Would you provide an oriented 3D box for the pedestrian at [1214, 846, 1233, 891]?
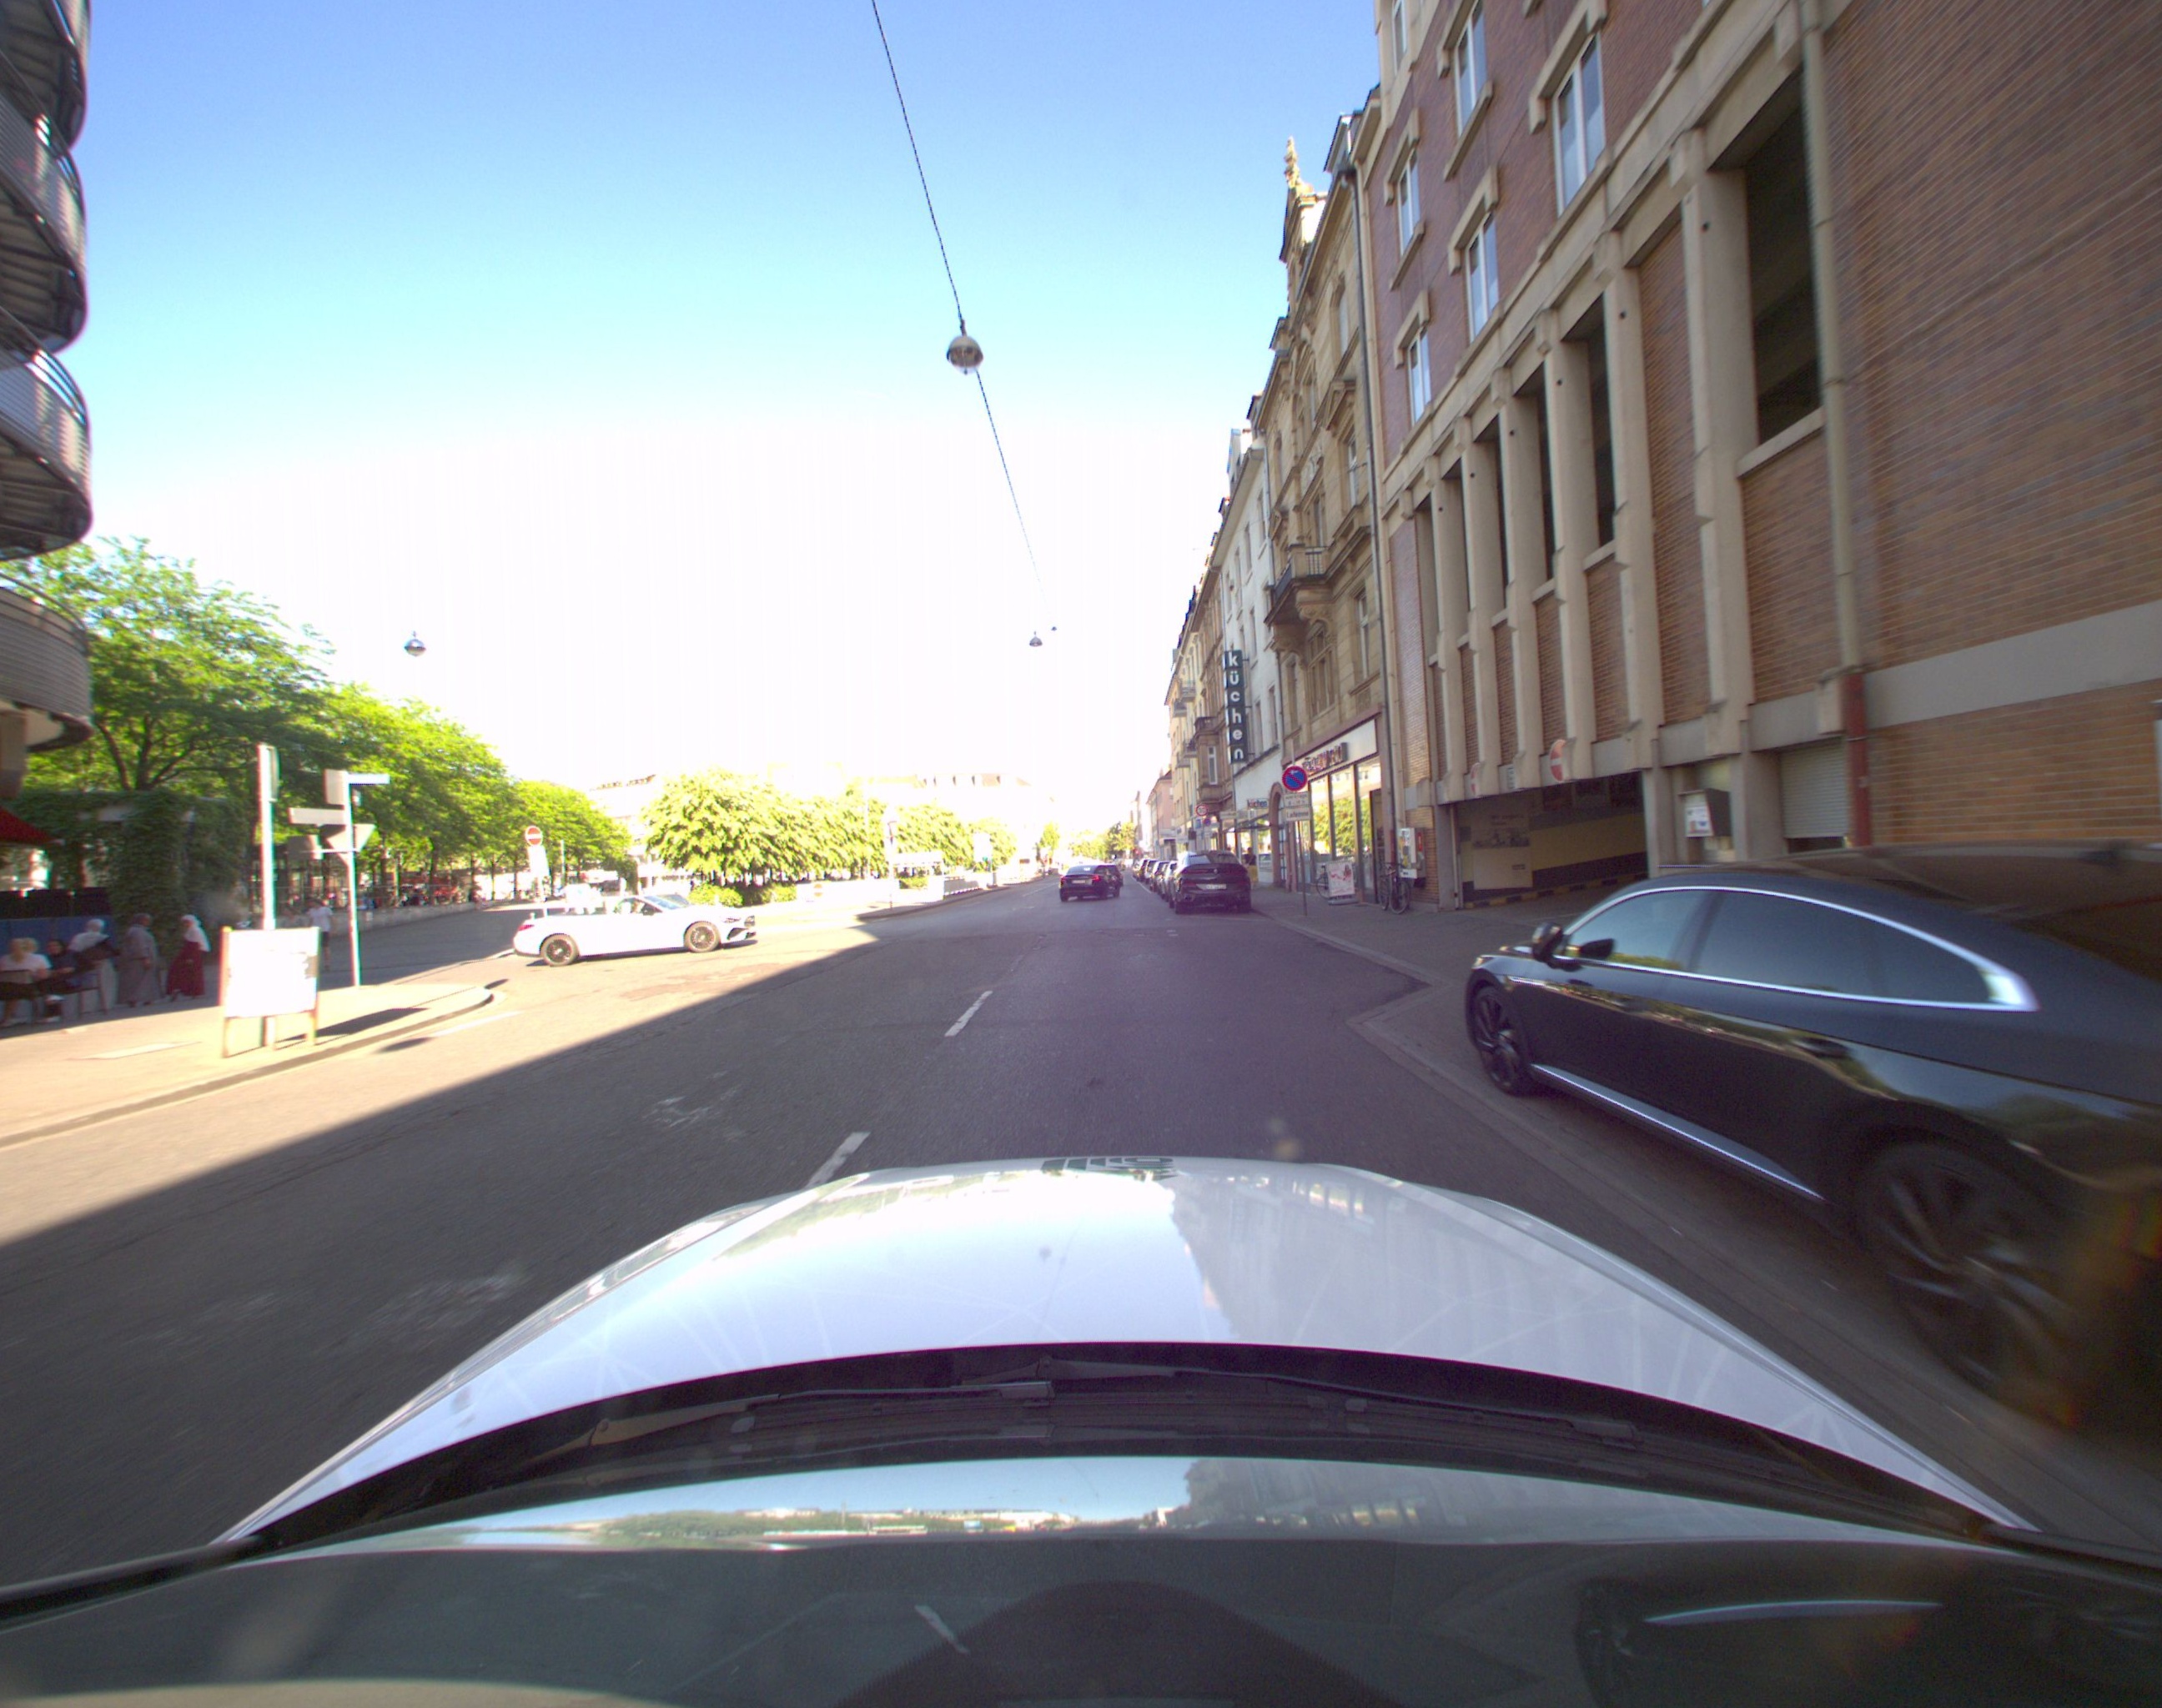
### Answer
[{"bbox_3d":[5.672,0.566,32.499,0.617,1.766,0.519,-3,-1,4],"label":"pedestrian"}]

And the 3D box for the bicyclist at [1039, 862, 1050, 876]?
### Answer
[{"bbox_3d":[-4.573,1.899,101.330,1.140,1.686,0.916,-3,-1,5],"label":"bicyclist"}]

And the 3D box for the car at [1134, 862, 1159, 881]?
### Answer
[{"bbox_3d":[5.251,1.439,65.543,1.785,1.460,4.086,-2,-2,2],"label":"car"}]

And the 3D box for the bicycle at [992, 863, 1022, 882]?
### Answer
[{"bbox_3d":[-8.236,2.019,90.229,3.101,2.014,0.911,-3,-1,11],"label":"bicycle"}]

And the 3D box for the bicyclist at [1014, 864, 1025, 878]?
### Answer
[{"bbox_3d":[-7.350,2.025,97.066,1.143,1.686,0.918,-3,-1,-1],"label":"bicyclist"}]

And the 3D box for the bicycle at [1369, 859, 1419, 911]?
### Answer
[{"bbox_3d":[6.746,0.645,17.610,0.356,1.044,1.791,-5,-1,2],"label":"bicycle"}]

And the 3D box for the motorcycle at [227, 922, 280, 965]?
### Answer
[{"bbox_3d":[-25.299,2.745,24.908,1.674,1.208,0.509,-4,-1,22],"label":"motorcycle"}]

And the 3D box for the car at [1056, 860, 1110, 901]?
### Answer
[{"bbox_3d":[0.135,1.059,33.078,1.988,1.480,4.495,-2,-2,1],"label":"car"}]

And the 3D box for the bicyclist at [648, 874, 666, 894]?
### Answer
[{"bbox_3d":[-38.527,2.719,74.081,0.962,1.700,1.210,-3,-1,-3],"label":"bicyclist"}]

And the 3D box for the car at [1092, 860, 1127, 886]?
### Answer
[{"bbox_3d":[1.811,1.156,50.580,1.926,1.487,4.275,-3,-1,4],"label":"car"}]

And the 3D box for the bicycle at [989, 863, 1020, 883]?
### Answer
[{"bbox_3d":[-8.391,2.063,89.194,3.101,2.014,0.911,-3,-1,11],"label":"bicycle"}]

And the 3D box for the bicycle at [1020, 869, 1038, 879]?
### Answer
[{"bbox_3d":[-6.351,2.451,99.419,2.006,1.022,0.762,-3,-1,-2],"label":"bicycle"}]

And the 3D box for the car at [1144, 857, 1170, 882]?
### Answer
[{"bbox_3d":[4.935,1.007,53.214,1.606,1.546,2.857,-2,0,3],"label":"car"}]

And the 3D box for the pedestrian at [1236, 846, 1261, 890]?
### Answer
[{"bbox_3d":[6.674,0.572,32.430,0.797,1.675,0.590,-5,-1,4],"label":"pedestrian"}]

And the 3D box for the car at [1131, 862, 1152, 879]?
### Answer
[{"bbox_3d":[5.677,1.565,76.307,1.785,1.460,3.870,-2,-2,2],"label":"car"}]

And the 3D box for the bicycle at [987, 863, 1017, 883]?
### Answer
[{"bbox_3d":[-8.538,2.050,88.114,3.101,2.014,0.911,-3,-1,11],"label":"bicycle"}]

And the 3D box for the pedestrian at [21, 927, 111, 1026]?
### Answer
[{"bbox_3d":[-15.163,1.807,12.184,0.576,1.340,0.694,-3,-1,-27],"label":"pedestrian"}]

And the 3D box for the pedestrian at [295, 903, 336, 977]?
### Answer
[{"bbox_3d":[-19.573,2.180,20.836,0.589,1.827,0.553,-3,-1,-31],"label":"pedestrian"}]

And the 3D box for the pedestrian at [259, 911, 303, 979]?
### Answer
[{"bbox_3d":[-20.113,2.282,20.475,0.618,1.613,0.577,-3,-1,-31],"label":"pedestrian"}]

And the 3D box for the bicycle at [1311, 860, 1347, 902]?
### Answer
[{"bbox_3d":[6.885,0.735,22.652,0.356,1.085,1.942,-5,-1,2],"label":"bicycle"}]

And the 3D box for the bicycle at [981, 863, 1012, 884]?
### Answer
[{"bbox_3d":[-8.931,2.072,86.087,3.101,2.014,0.911,-3,-1,11],"label":"bicycle"}]

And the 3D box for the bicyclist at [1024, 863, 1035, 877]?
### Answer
[{"bbox_3d":[-6.296,1.943,99.430,1.143,1.686,0.819,-3,-1,-2],"label":"bicyclist"}]

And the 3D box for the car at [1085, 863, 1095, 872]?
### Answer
[{"bbox_3d":[1.950,2.949,174.472,1.985,1.772,4.004,-2,0,3],"label":"car"}]

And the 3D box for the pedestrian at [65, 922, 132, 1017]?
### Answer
[{"bbox_3d":[-17.016,1.976,14.119,0.578,1.535,0.692,-2,-1,-39],"label":"pedestrian"}]

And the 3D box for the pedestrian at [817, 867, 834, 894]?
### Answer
[{"bbox_3d":[-20.634,2.135,65.779,0.725,2.108,0.973,-3,-1,24],"label":"pedestrian"}]

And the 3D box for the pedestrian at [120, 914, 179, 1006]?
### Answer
[{"bbox_3d":[-16.558,1.866,14.495,0.545,1.535,0.679,-2,-1,-39],"label":"pedestrian"}]

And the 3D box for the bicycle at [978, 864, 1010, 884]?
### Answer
[{"bbox_3d":[-9.086,2.076,85.134,3.101,2.014,0.911,-3,-1,11],"label":"bicycle"}]

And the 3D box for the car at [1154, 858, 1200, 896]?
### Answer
[{"bbox_3d":[4.007,0.926,34.524,1.602,1.449,3.832,-2,0,2],"label":"car"}]

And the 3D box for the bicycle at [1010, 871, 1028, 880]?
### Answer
[{"bbox_3d":[-7.394,2.555,97.055,2.006,1.022,0.887,-3,-1,-2],"label":"bicycle"}]

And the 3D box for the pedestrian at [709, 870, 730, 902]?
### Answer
[{"bbox_3d":[-24.471,2.181,55.103,0.725,2.108,0.973,-3,-1,24],"label":"pedestrian"}]

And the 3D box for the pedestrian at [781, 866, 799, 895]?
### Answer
[{"bbox_3d":[-21.597,1.945,60.423,0.725,2.108,0.973,-3,-1,24],"label":"pedestrian"}]

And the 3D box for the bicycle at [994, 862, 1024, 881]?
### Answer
[{"bbox_3d":[-8.037,1.975,91.267,3.101,2.014,0.911,-3,-1,11],"label":"bicycle"}]

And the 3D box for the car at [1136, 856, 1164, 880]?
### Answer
[{"bbox_3d":[4.957,1.042,58.950,1.710,1.636,4.084,-2,-2,0],"label":"car"}]

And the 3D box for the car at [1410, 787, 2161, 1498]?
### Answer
[{"bbox_3d":[3.330,0.592,3.444,1.910,1.478,4.967,-7,-1,2],"label":"car"}]

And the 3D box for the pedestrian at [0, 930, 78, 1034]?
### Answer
[{"bbox_3d":[-14.777,1.782,11.455,0.576,1.340,0.694,-3,-1,-27],"label":"pedestrian"}]

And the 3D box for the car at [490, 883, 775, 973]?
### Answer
[{"bbox_3d":[-9.785,1.580,18.207,5.102,1.423,1.993,-4,-1,-10],"label":"car"}]

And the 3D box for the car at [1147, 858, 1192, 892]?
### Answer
[{"bbox_3d":[4.298,0.988,40.066,1.832,1.546,4.229,-2,0,2],"label":"car"}]

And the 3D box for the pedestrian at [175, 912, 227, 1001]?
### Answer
[{"bbox_3d":[-16.215,1.866,15.010,0.545,1.535,0.546,-2,-1,-40],"label":"pedestrian"}]

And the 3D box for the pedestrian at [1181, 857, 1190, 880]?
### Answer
[{"bbox_3d":[7.411,1.038,57.755,0.467,1.635,0.516,-3,-1,18],"label":"pedestrian"}]

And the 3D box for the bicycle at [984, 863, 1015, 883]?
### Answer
[{"bbox_3d":[-8.750,2.066,87.074,3.101,2.014,0.911,-3,-1,11],"label":"bicycle"}]

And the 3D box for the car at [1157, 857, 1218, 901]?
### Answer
[{"bbox_3d":[3.838,0.864,29.931,1.831,1.487,4.186,-2,0,2],"label":"car"}]

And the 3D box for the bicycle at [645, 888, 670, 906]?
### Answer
[{"bbox_3d":[-38.493,3.867,74.090,0.962,1.503,2.685,-3,-1,-3],"label":"bicycle"}]

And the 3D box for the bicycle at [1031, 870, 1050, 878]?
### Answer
[{"bbox_3d":[-5.076,2.540,101.371,2.233,0.883,0.925,-3,-1,5],"label":"bicycle"}]

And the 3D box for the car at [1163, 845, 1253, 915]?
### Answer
[{"bbox_3d":[3.457,0.661,23.067,1.965,1.725,4.827,-2,0,2],"label":"car"}]
